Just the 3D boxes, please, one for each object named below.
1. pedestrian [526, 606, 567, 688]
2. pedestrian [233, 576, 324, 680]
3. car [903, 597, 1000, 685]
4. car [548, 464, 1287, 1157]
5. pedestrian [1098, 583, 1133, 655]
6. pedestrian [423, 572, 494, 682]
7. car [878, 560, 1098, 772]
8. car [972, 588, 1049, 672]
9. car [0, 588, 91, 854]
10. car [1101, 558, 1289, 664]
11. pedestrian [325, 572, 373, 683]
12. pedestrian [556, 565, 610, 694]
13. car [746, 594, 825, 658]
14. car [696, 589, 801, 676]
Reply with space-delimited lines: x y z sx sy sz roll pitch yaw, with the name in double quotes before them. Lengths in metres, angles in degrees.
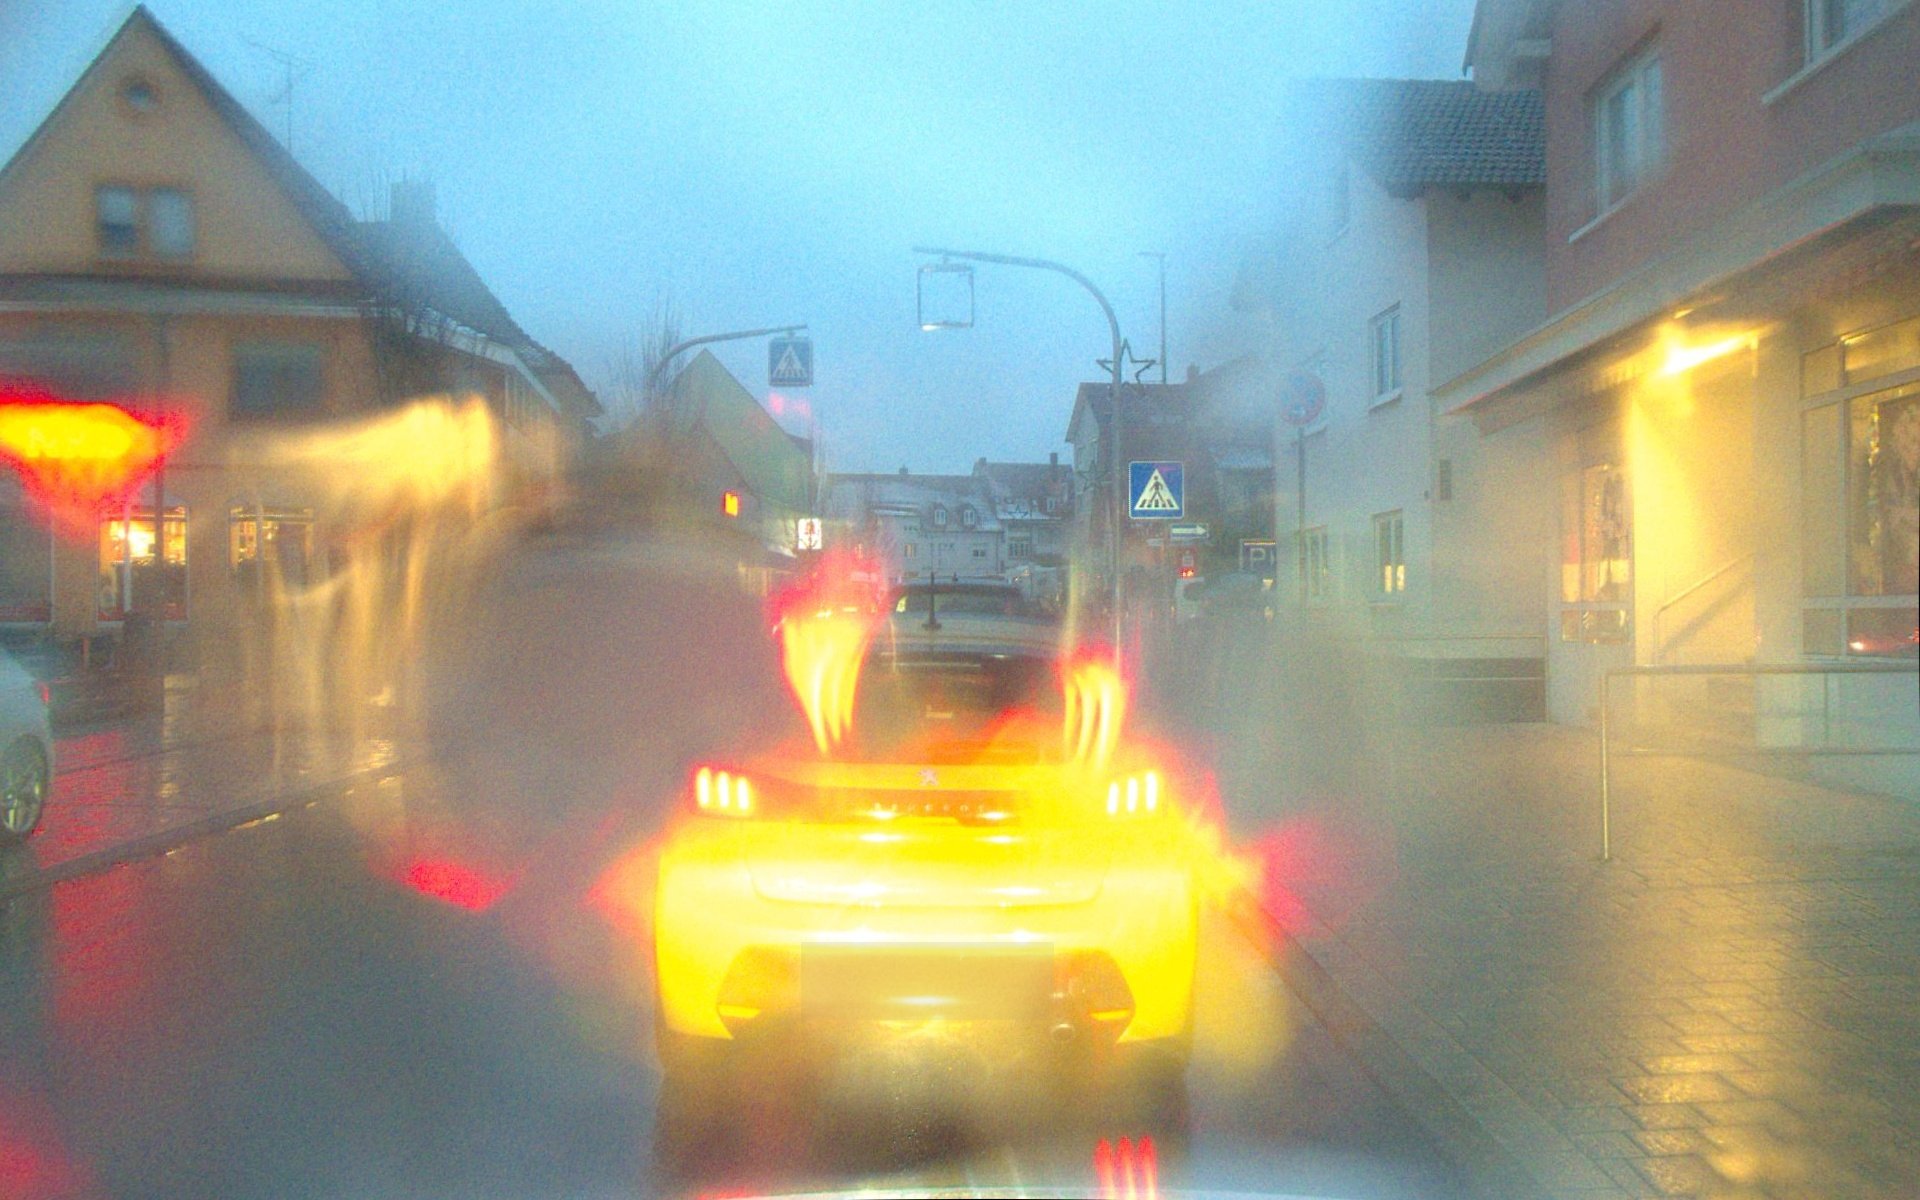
"pedestrian" -6.413 0.729 25.691 0.542 1.254 0.433 0 0 -5
"pedestrian" -10.200 0.420 24.792 0.872 1.442 0.776 6 -1 4
"car" -0.103 0.753 32.778 1.789 1.629 4.582 0 0 1
"car" -0.032 0.530 6.704 1.952 1.827 4.650 0 1 2
"pedestrian" 4.500 0.547 47.977 0.995 2.049 1.276 0 0 4
"pedestrian" -8.360 0.436 27.598 0.955 1.773 0.960 1 1 -7
"car" 0.248 0.543 15.345 1.761 1.691 4.000 1 0 1
"car" 1.264 0.730 42.927 1.609 2.049 3.998 -2 0 -3
"car" -6.382 0.684 8.581 1.636 1.543 3.999 2 0 -1
"car" 4.726 0.216 33.643 3.620 2.049 1.690 1 -1 2
"pedestrian" -9.903 0.442 26.817 0.577 1.773 0.683 0 0 -8
"pedestrian" -5.692 0.440 24.966 0.689 1.909 0.616 1 1 -7
"car" -5.016 0.729 48.083 1.953 1.783 4.360 0 0 -2
"car" -5.196 0.774 41.133 1.952 2.049 4.362 0 0 1
